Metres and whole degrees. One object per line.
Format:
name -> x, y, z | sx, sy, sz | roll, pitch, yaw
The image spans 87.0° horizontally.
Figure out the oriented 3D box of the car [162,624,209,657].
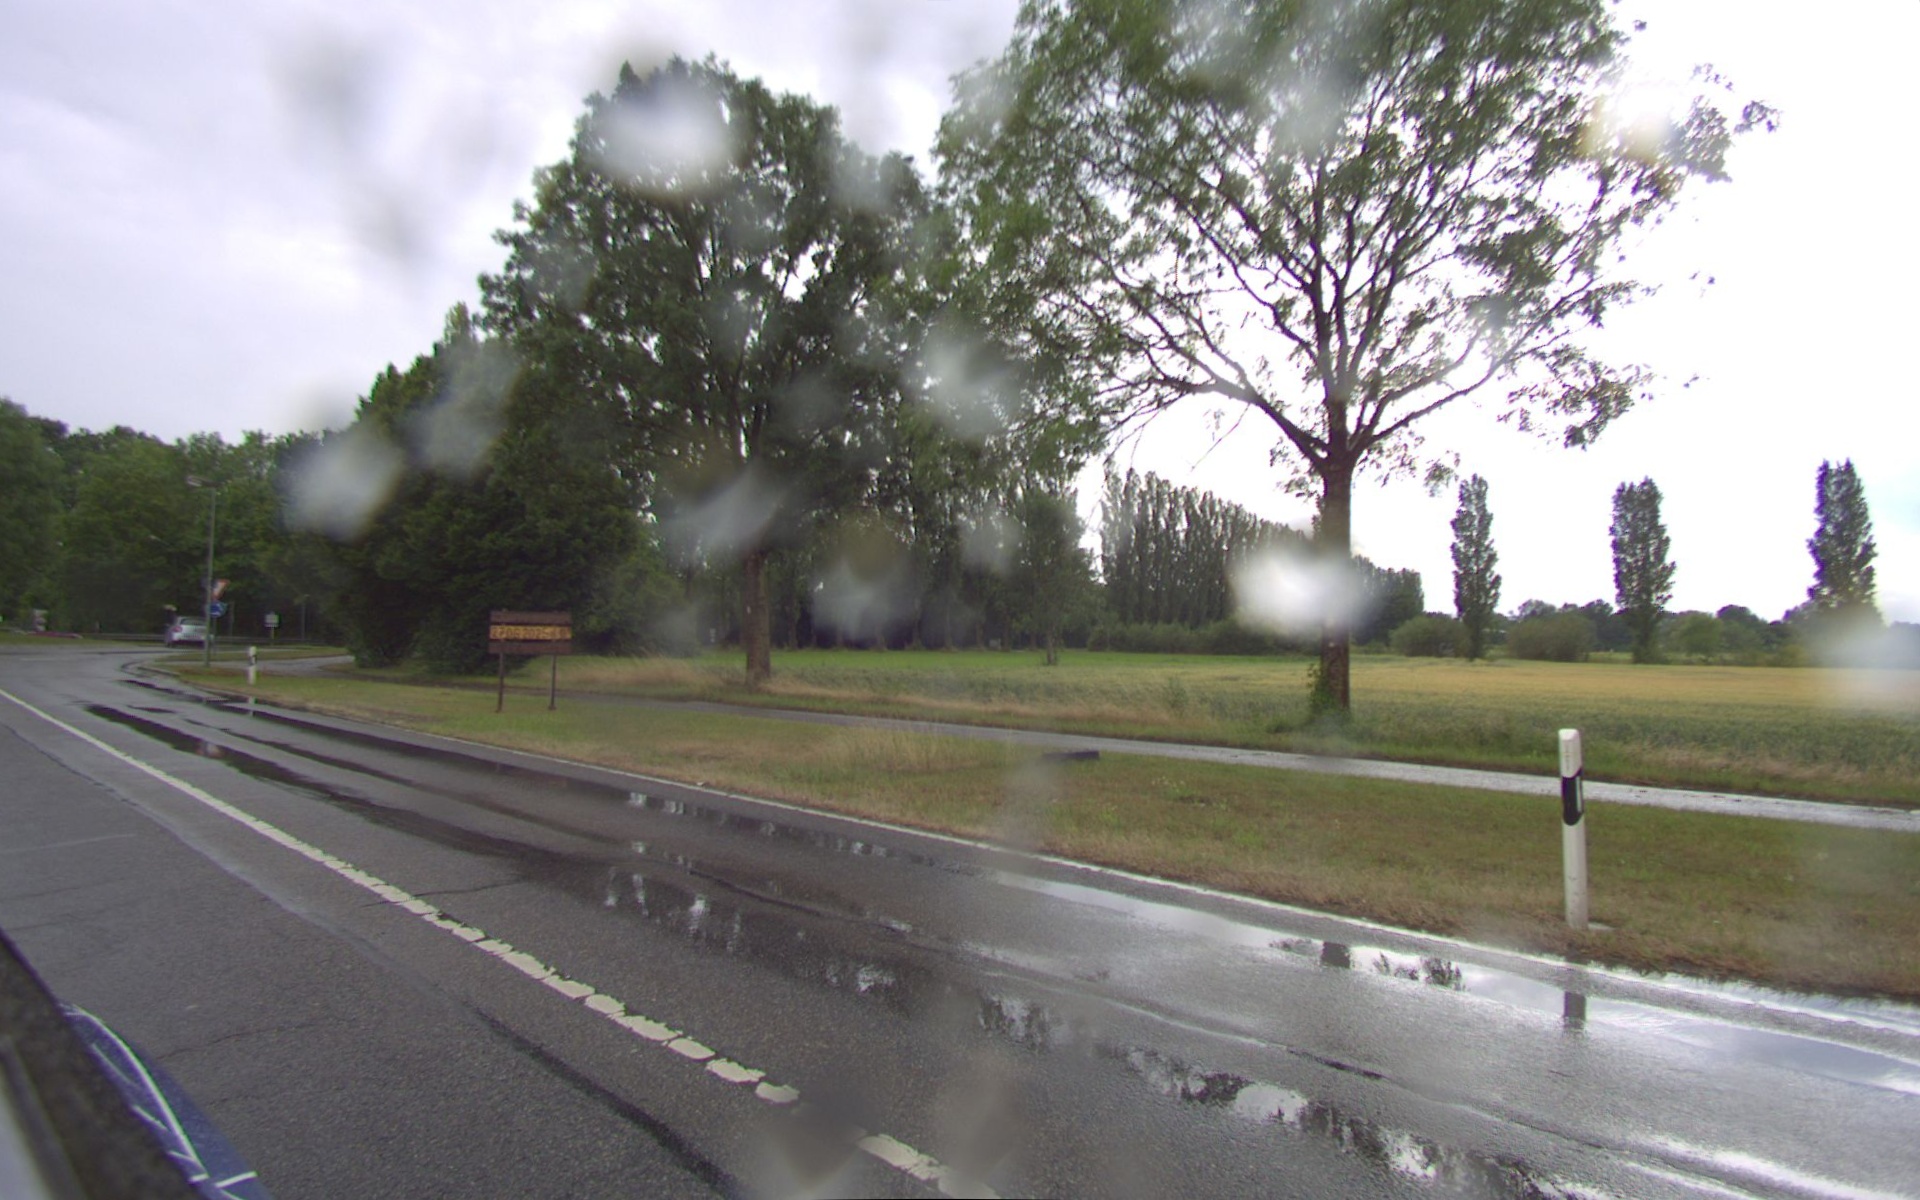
car -> -37.191, 1.931, 48.579 | 1.654, 1.510, 3.741 | 3, -3, -39
